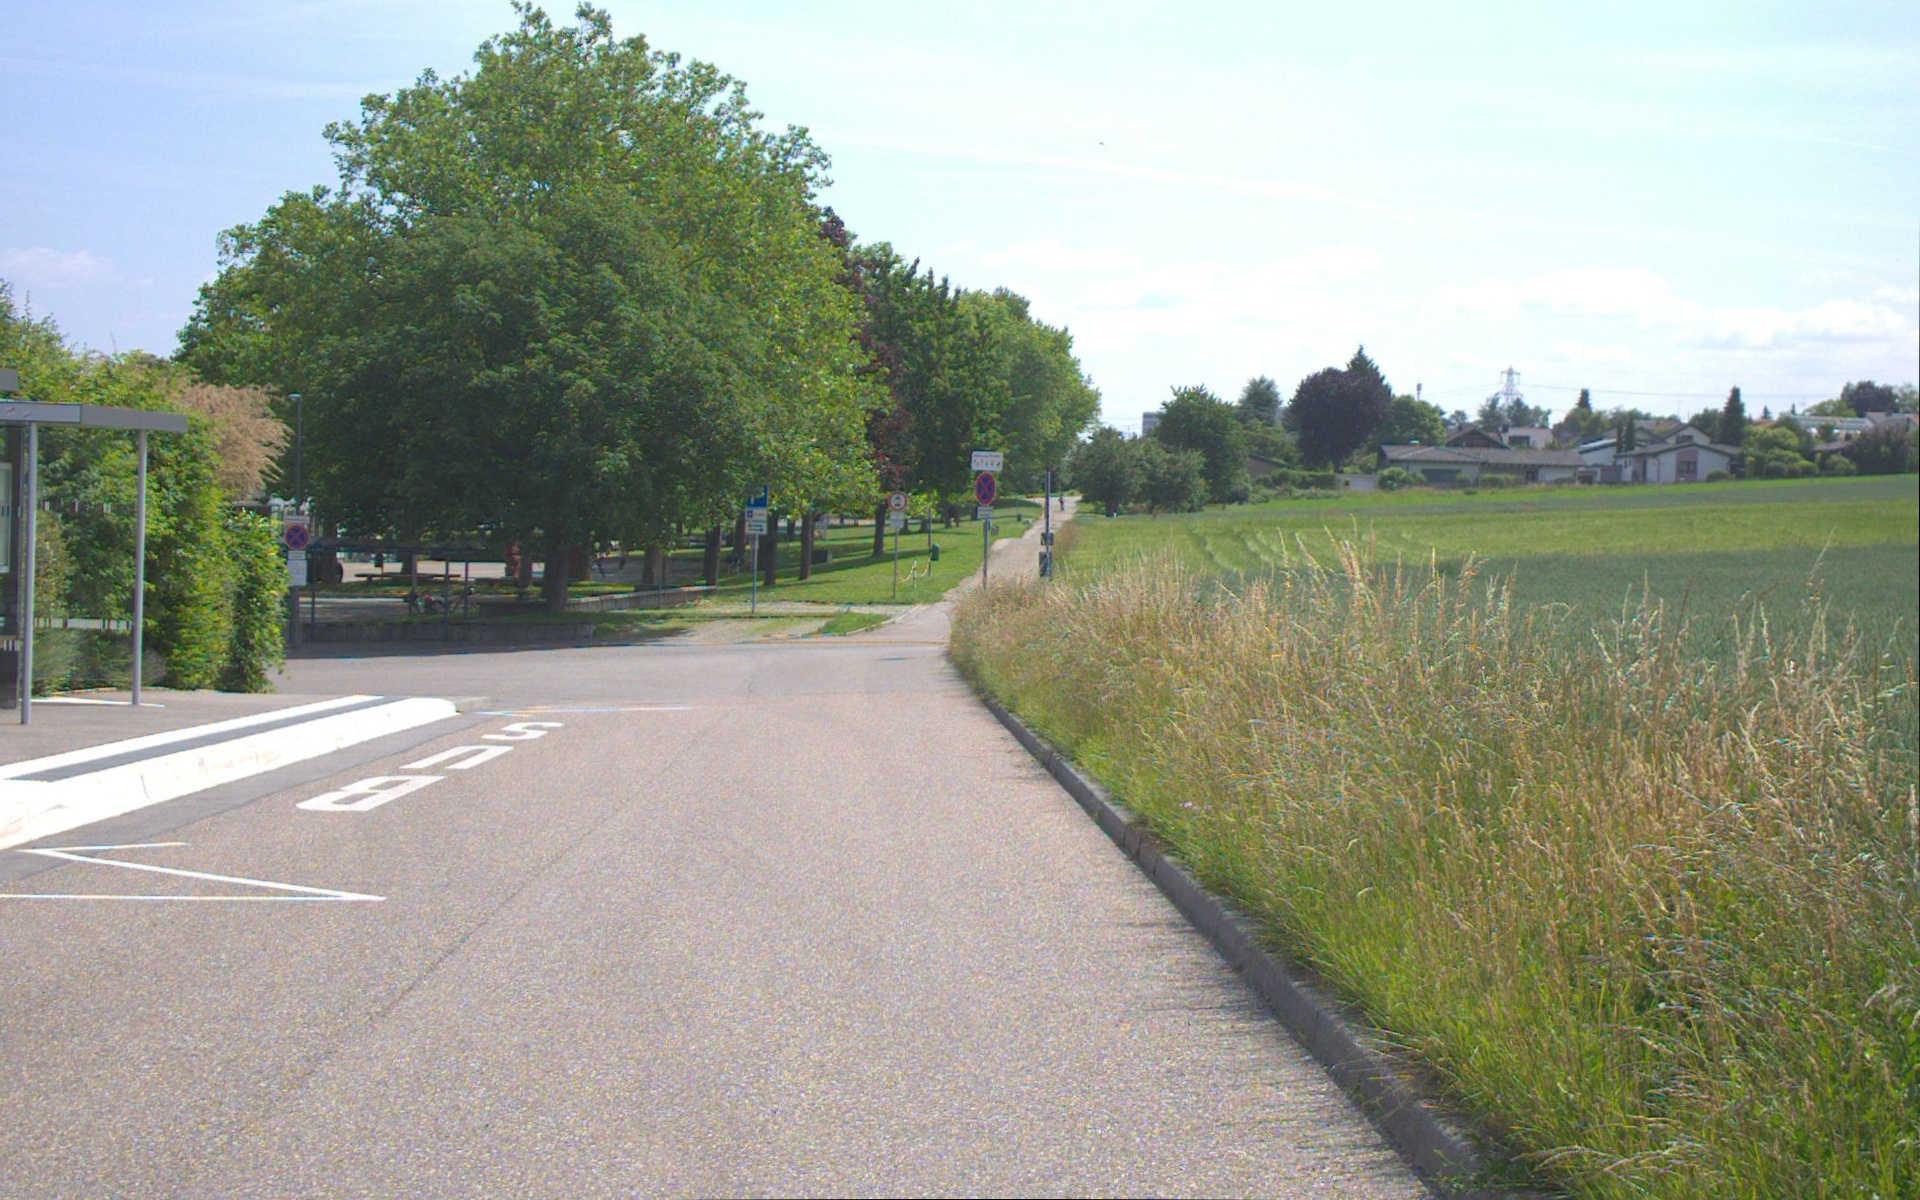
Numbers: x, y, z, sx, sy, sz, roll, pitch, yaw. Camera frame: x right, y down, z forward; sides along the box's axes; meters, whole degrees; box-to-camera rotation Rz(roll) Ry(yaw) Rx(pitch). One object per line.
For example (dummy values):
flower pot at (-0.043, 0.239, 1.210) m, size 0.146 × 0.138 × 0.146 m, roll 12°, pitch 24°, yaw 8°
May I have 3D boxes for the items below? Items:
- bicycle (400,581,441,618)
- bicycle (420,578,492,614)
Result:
bicycle at (-15.636, -0.024, 99.607) m, size 0.595 × 1.035 × 1.892 m, roll -1°, pitch 1°, yaw 9°
bicycle at (-14.915, -0.118, 101.780) m, size 2.062 × 1.035 × 0.572 m, roll -1°, pitch 1°, yaw -6°
